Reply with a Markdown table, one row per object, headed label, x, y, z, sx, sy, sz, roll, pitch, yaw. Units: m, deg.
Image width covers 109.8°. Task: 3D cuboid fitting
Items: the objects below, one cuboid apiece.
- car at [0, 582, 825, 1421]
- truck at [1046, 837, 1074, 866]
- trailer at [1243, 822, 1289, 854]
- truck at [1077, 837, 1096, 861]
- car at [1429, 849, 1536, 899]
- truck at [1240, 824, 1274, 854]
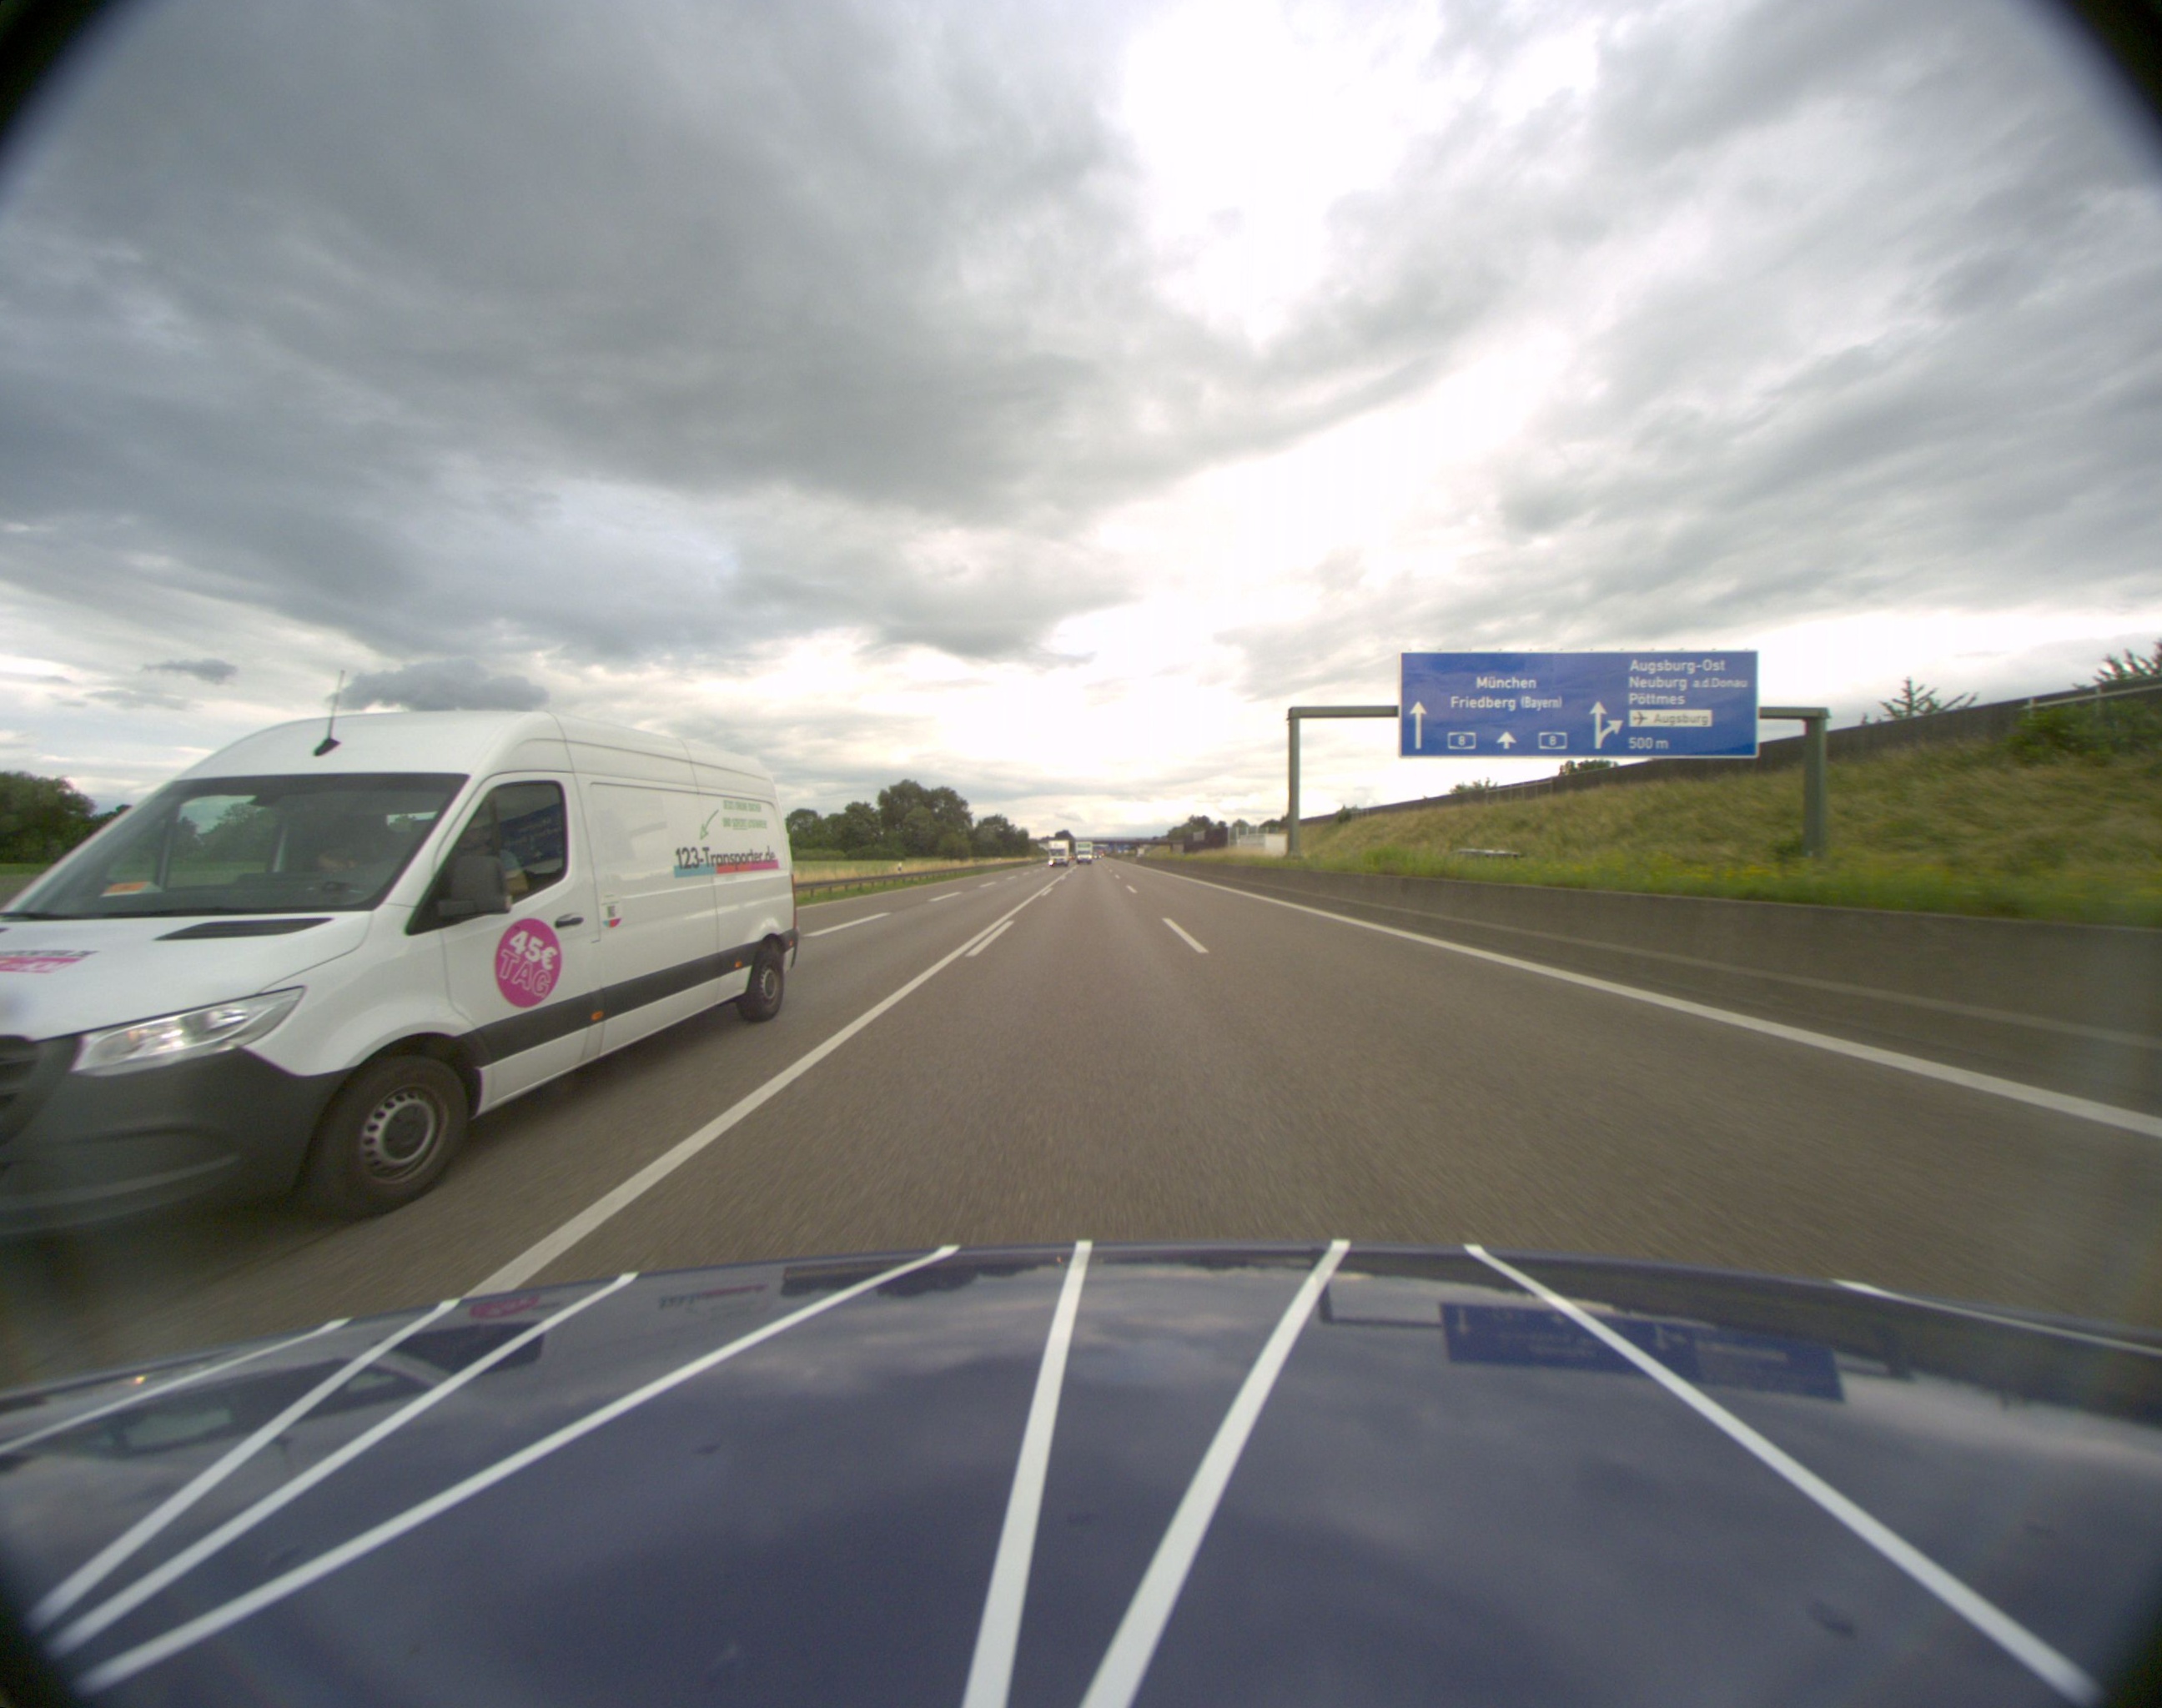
| label | x | y | z | sx | sy | sz | roll | pitch | yaw |
| --- | --- | --- | --- | --- | --- | --- | --- | --- | --- |
| car | -4.094 | 0.473 | 5.451 | 2.226 | 2.553 | 6.256 | -1 | 0 | 1 |
| truck | -2.733 | -0.351 | 100.231 | 3.112 | 3.450 | 8.891 | -2 | 0 | 1 |
| trailer | 22.130 | -1.811 | 91.497 | 2.784 | 3.656 | 12.264 | 0 | 0 | 1 |
| truck | 0.956 | -0.758 | 118.545 | 2.777 | 3.484 | 9.062 | -2 | 0 | 1 |
| car | 12.437 | 0.586 | 23.737 | 1.539 | 1.380 | 3.333 | -2 | 0 | 0 |
| truck | 22.266 | -1.809 | 96.629 | 2.733 | 3.656 | 7.489 | 0 | 0 | 1 |
